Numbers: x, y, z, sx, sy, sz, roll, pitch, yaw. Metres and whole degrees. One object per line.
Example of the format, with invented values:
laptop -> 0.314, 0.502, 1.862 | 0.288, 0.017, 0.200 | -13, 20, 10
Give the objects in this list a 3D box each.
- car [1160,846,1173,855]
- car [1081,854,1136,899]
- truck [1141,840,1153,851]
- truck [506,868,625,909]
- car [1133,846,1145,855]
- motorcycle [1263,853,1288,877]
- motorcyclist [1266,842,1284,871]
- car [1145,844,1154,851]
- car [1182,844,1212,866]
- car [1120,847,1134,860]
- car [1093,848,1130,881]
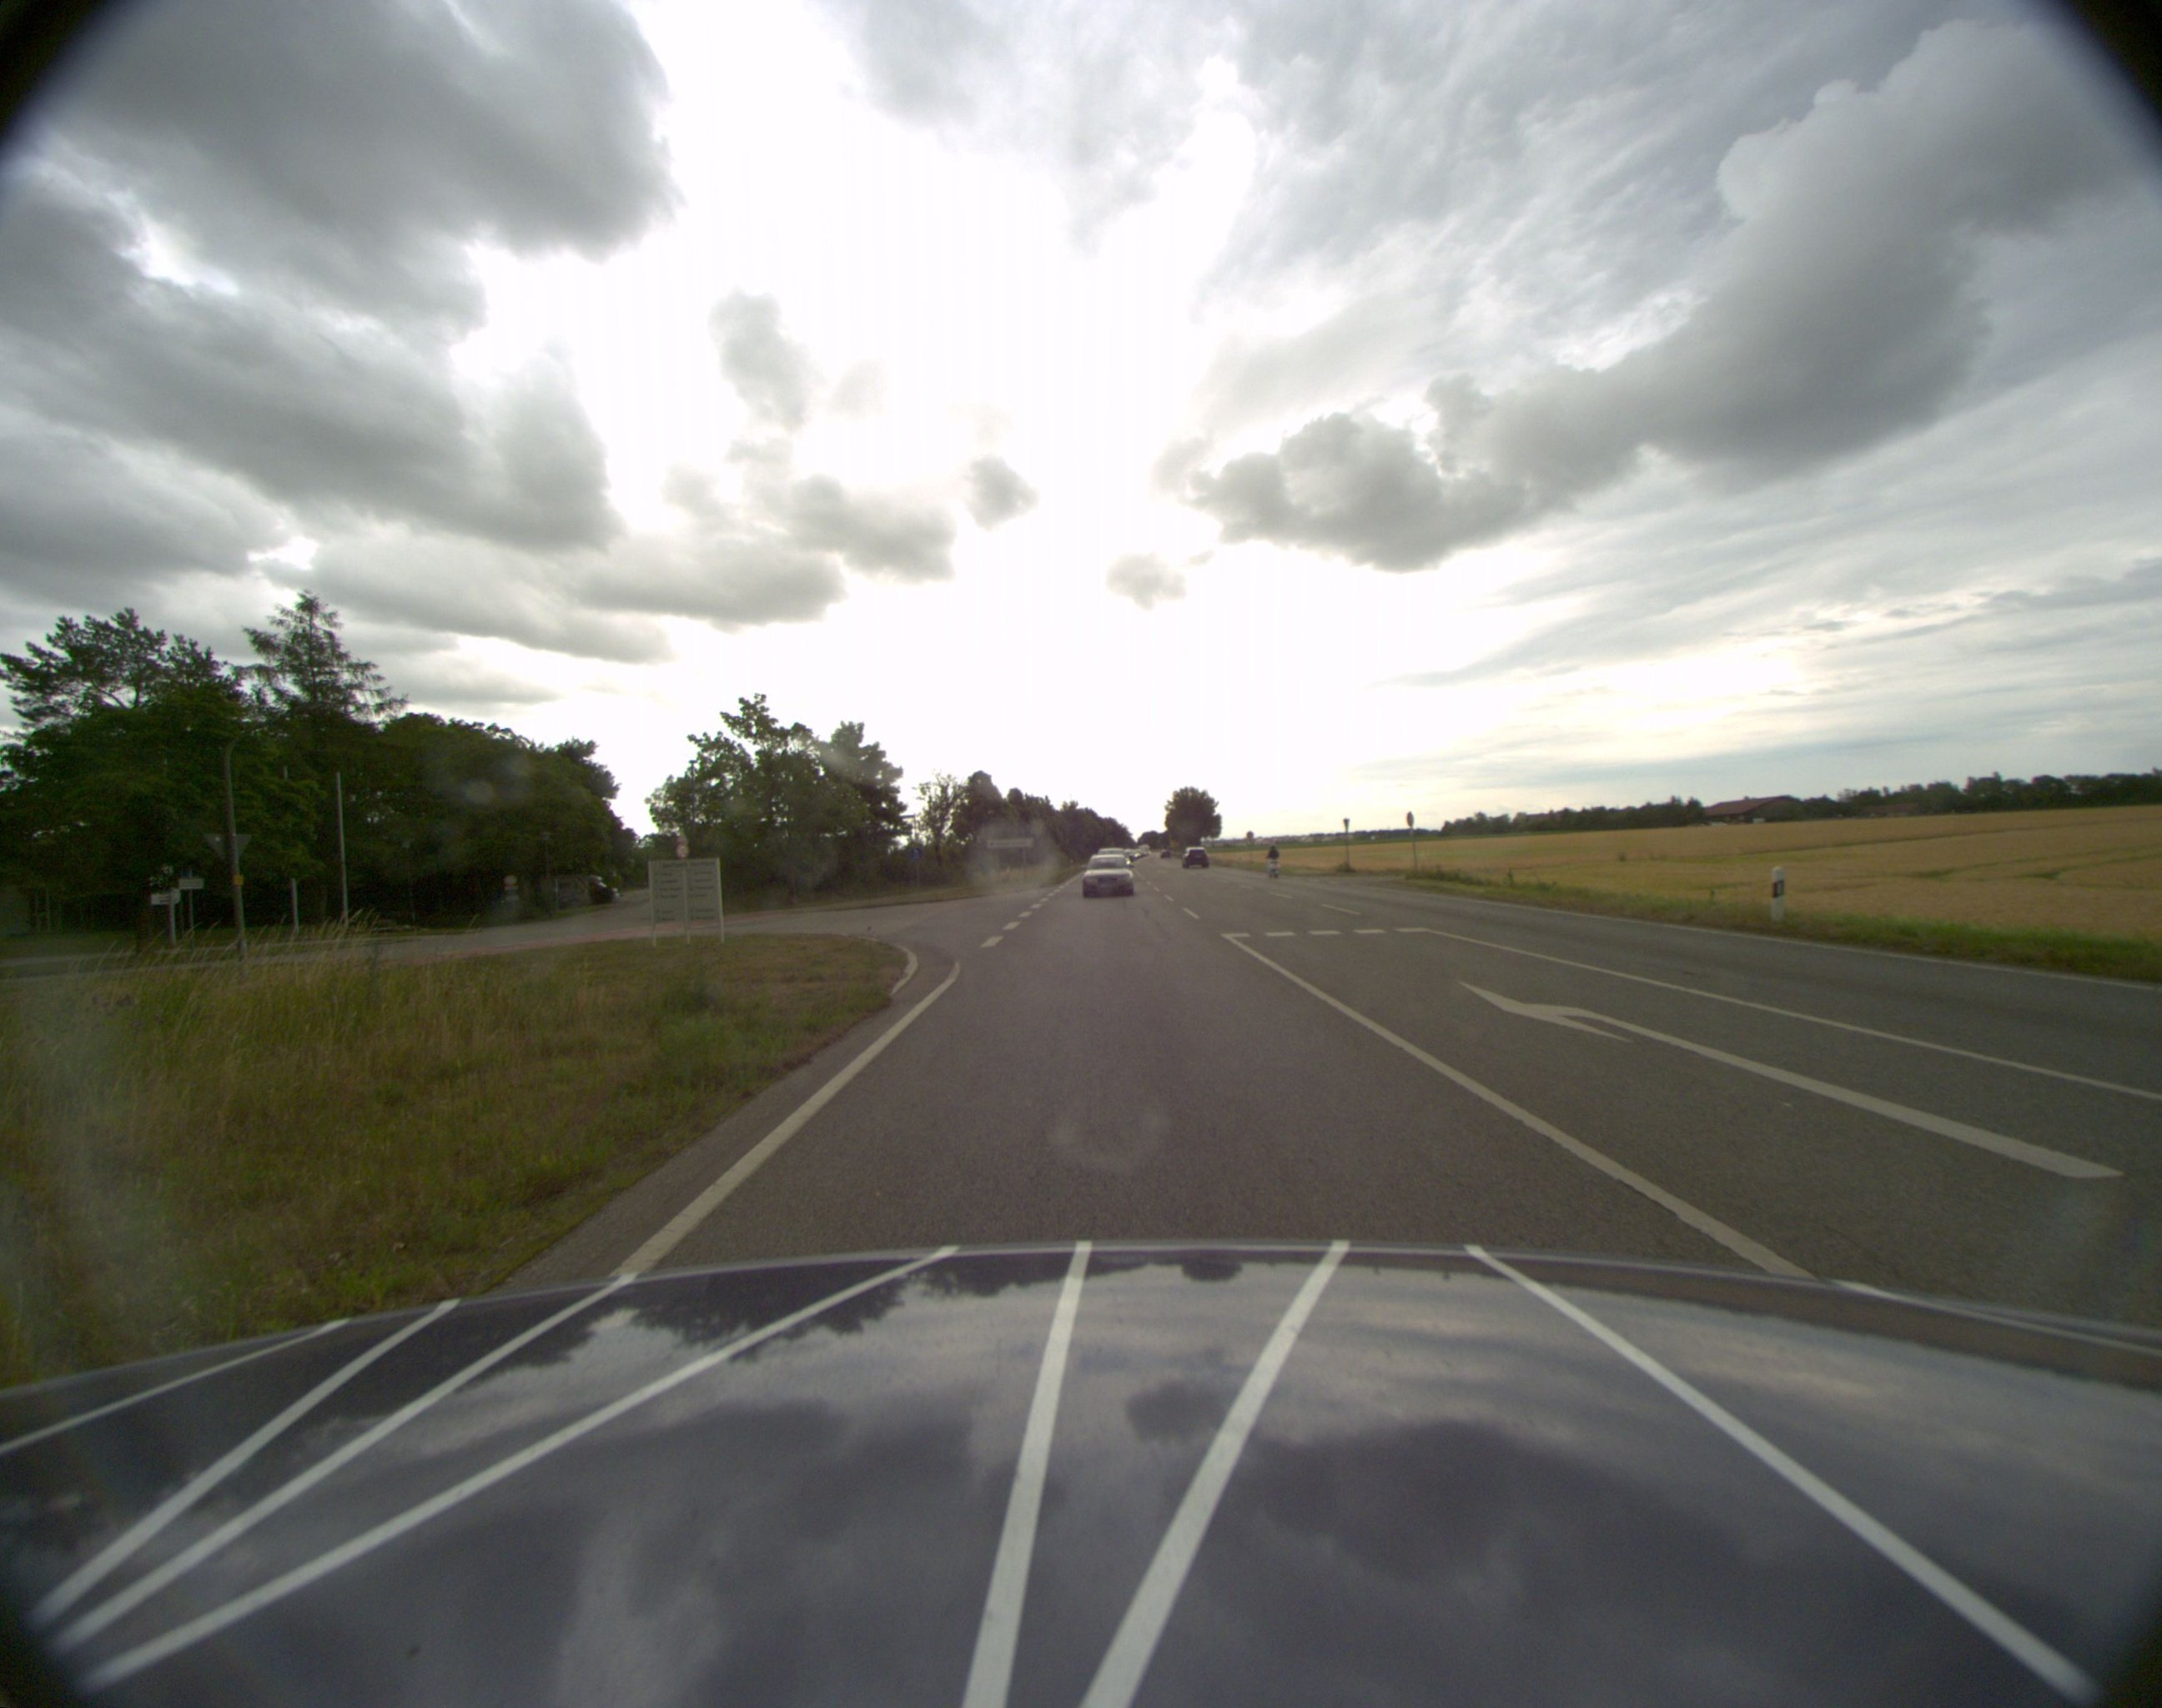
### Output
car -> 14.638, -0.603, 129.651 | 1.997, 1.501, 4.002 | -1, 1, 9
car -> 1.052, 0.745, 27.333 | 1.793, 1.415, 4.368 | -2, 0, 4
truck -> 17.178, -2.252, 198.220 | 2.318, 2.749, 7.677 | -3, 1, 9
truck -> -46.545, 3.053, 68.946 | 8.382, 3.092, 3.067 | -3, 1, -25
car -> 11.323, -0.749, 147.746 | 1.953, 1.573, 4.139 | -2, 0, 10
motorcycle -> 9.660, 0.519, 37.816 | 0.727, 1.142, 2.024 | -2, 1, 1
motorcyclist -> 9.643, 0.121, 37.733 | 0.641, 1.376, 0.809 | -2, 1, 1
car -> 16.349, -1.504, 180.468 | 1.792, 1.531, 4.139 | -2, 0, 10
car -> 9.460, 0.064, 62.420 | 1.951, 1.684, 4.447 | -2, 1, 3
car -> 6.278, -0.103, 103.416 | 1.793, 1.573, 4.188 | -2, 0, 4
car -> 1.627, 0.524, 40.521 | 1.793, 1.573, 4.367 | -2, 0, 2
